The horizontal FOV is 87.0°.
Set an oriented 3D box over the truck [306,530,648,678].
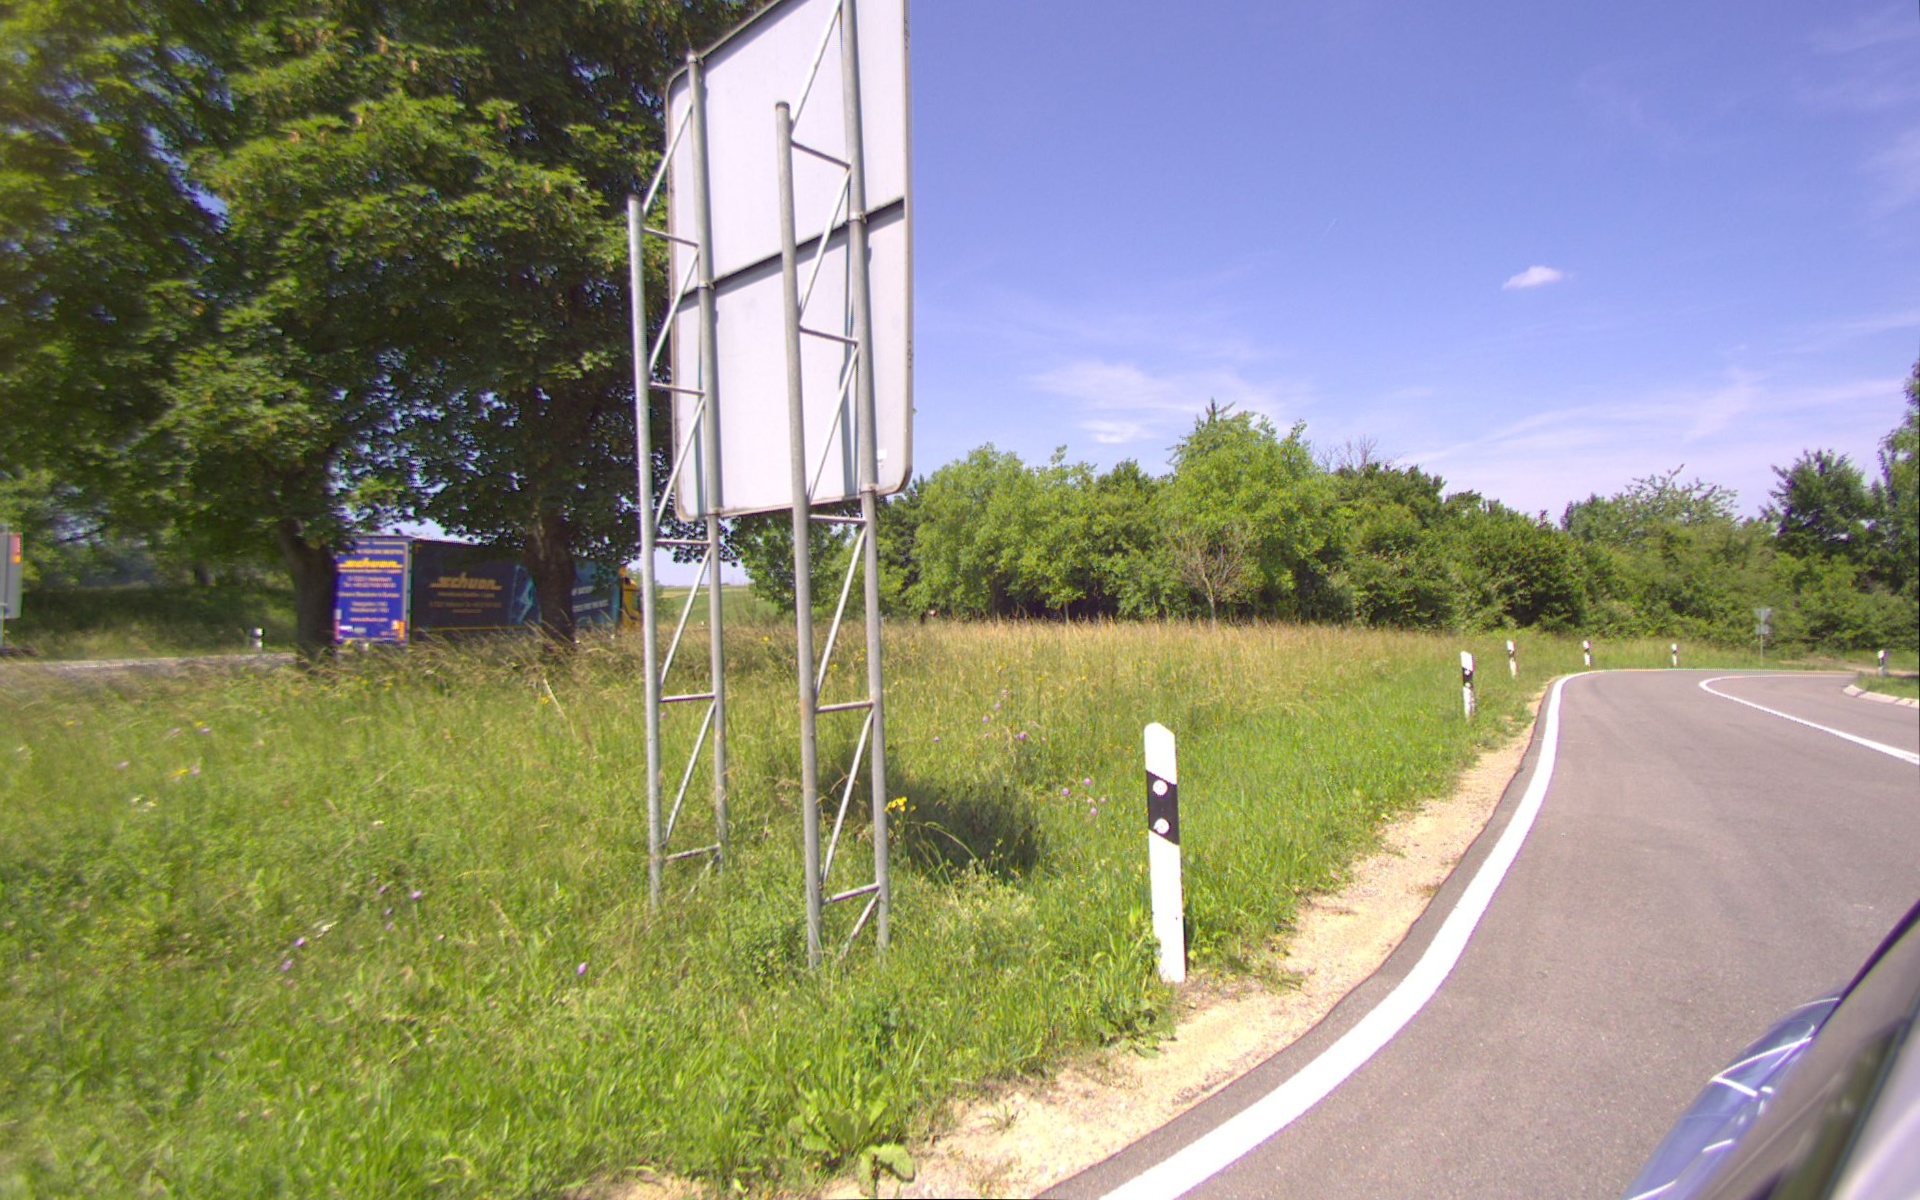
[{"bbox_3d":[-16.334,0.193,37.124,2.803,4.184,16.776,0,-1,7],"label":"truck"}]
